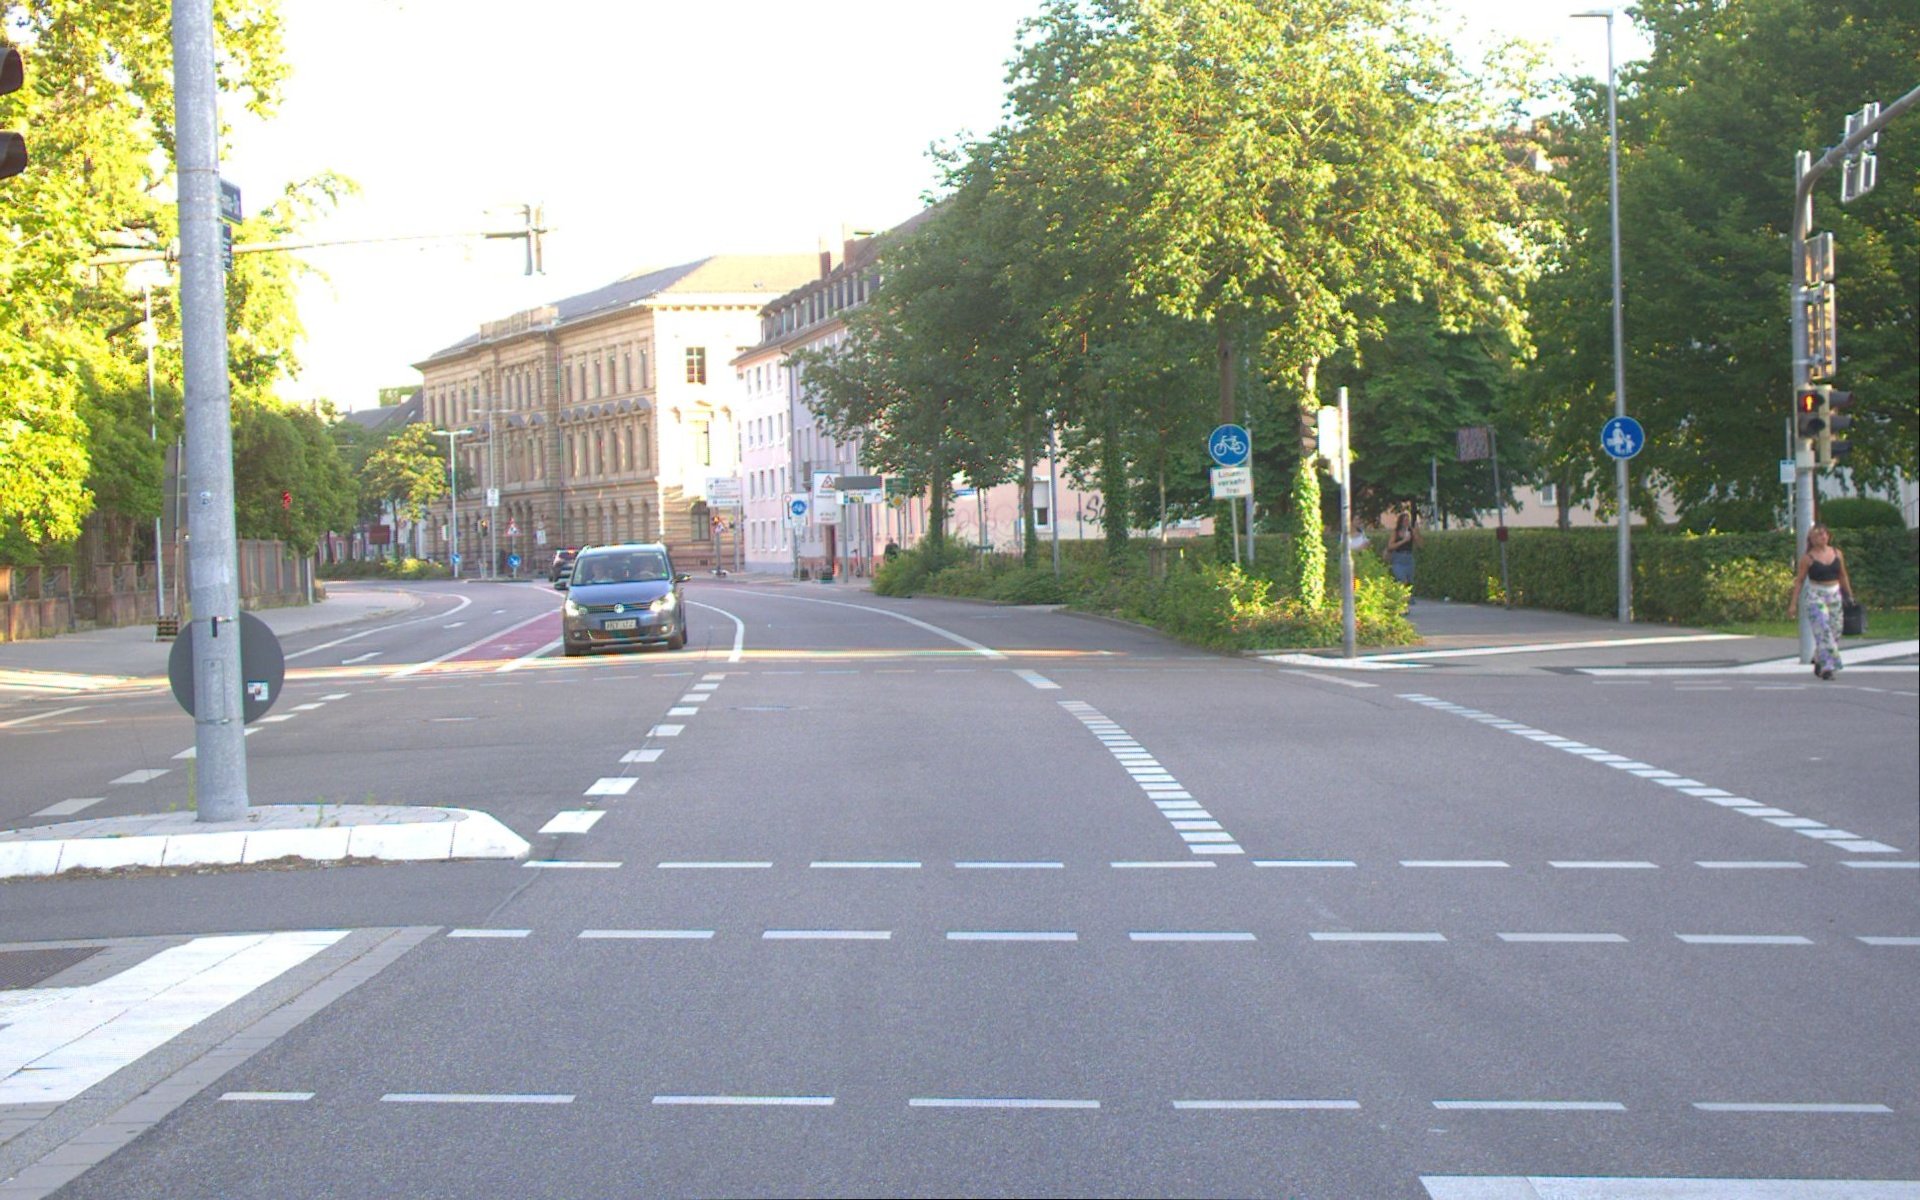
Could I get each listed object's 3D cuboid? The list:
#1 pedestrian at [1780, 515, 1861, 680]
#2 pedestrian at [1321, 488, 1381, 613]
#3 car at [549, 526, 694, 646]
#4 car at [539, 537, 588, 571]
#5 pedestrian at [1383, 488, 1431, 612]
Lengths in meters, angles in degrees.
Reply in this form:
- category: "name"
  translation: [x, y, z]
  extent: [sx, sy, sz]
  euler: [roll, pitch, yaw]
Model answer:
- category: "pedestrian"
  translation: [8.598, -0.033, 34.368]
  extent: [0.599, 1.630, 0.691]
  euler: [-1, 1, -5]
- category: "pedestrian"
  translation: [6.315, -0.801, 55.489]
  extent: [0.870, 2.007, 0.722]
  euler: [0, 1, -1]
- category: "car"
  translation: [-5.132, -0.246, 52.606]
  extent: [1.849, 1.714, 4.296]
  euler: [-1, 1, -1]
- category: "car"
  translation: [-19.683, -2.269, 170.737]
  extent: [1.819, 1.583, 4.001]
  euler: [-3, 1, -14]
- category: "pedestrian"
  translation: [7.287, -0.812, 56.085]
  extent: [0.635, 2.007, 0.720]
  euler: [0, 1, -4]
